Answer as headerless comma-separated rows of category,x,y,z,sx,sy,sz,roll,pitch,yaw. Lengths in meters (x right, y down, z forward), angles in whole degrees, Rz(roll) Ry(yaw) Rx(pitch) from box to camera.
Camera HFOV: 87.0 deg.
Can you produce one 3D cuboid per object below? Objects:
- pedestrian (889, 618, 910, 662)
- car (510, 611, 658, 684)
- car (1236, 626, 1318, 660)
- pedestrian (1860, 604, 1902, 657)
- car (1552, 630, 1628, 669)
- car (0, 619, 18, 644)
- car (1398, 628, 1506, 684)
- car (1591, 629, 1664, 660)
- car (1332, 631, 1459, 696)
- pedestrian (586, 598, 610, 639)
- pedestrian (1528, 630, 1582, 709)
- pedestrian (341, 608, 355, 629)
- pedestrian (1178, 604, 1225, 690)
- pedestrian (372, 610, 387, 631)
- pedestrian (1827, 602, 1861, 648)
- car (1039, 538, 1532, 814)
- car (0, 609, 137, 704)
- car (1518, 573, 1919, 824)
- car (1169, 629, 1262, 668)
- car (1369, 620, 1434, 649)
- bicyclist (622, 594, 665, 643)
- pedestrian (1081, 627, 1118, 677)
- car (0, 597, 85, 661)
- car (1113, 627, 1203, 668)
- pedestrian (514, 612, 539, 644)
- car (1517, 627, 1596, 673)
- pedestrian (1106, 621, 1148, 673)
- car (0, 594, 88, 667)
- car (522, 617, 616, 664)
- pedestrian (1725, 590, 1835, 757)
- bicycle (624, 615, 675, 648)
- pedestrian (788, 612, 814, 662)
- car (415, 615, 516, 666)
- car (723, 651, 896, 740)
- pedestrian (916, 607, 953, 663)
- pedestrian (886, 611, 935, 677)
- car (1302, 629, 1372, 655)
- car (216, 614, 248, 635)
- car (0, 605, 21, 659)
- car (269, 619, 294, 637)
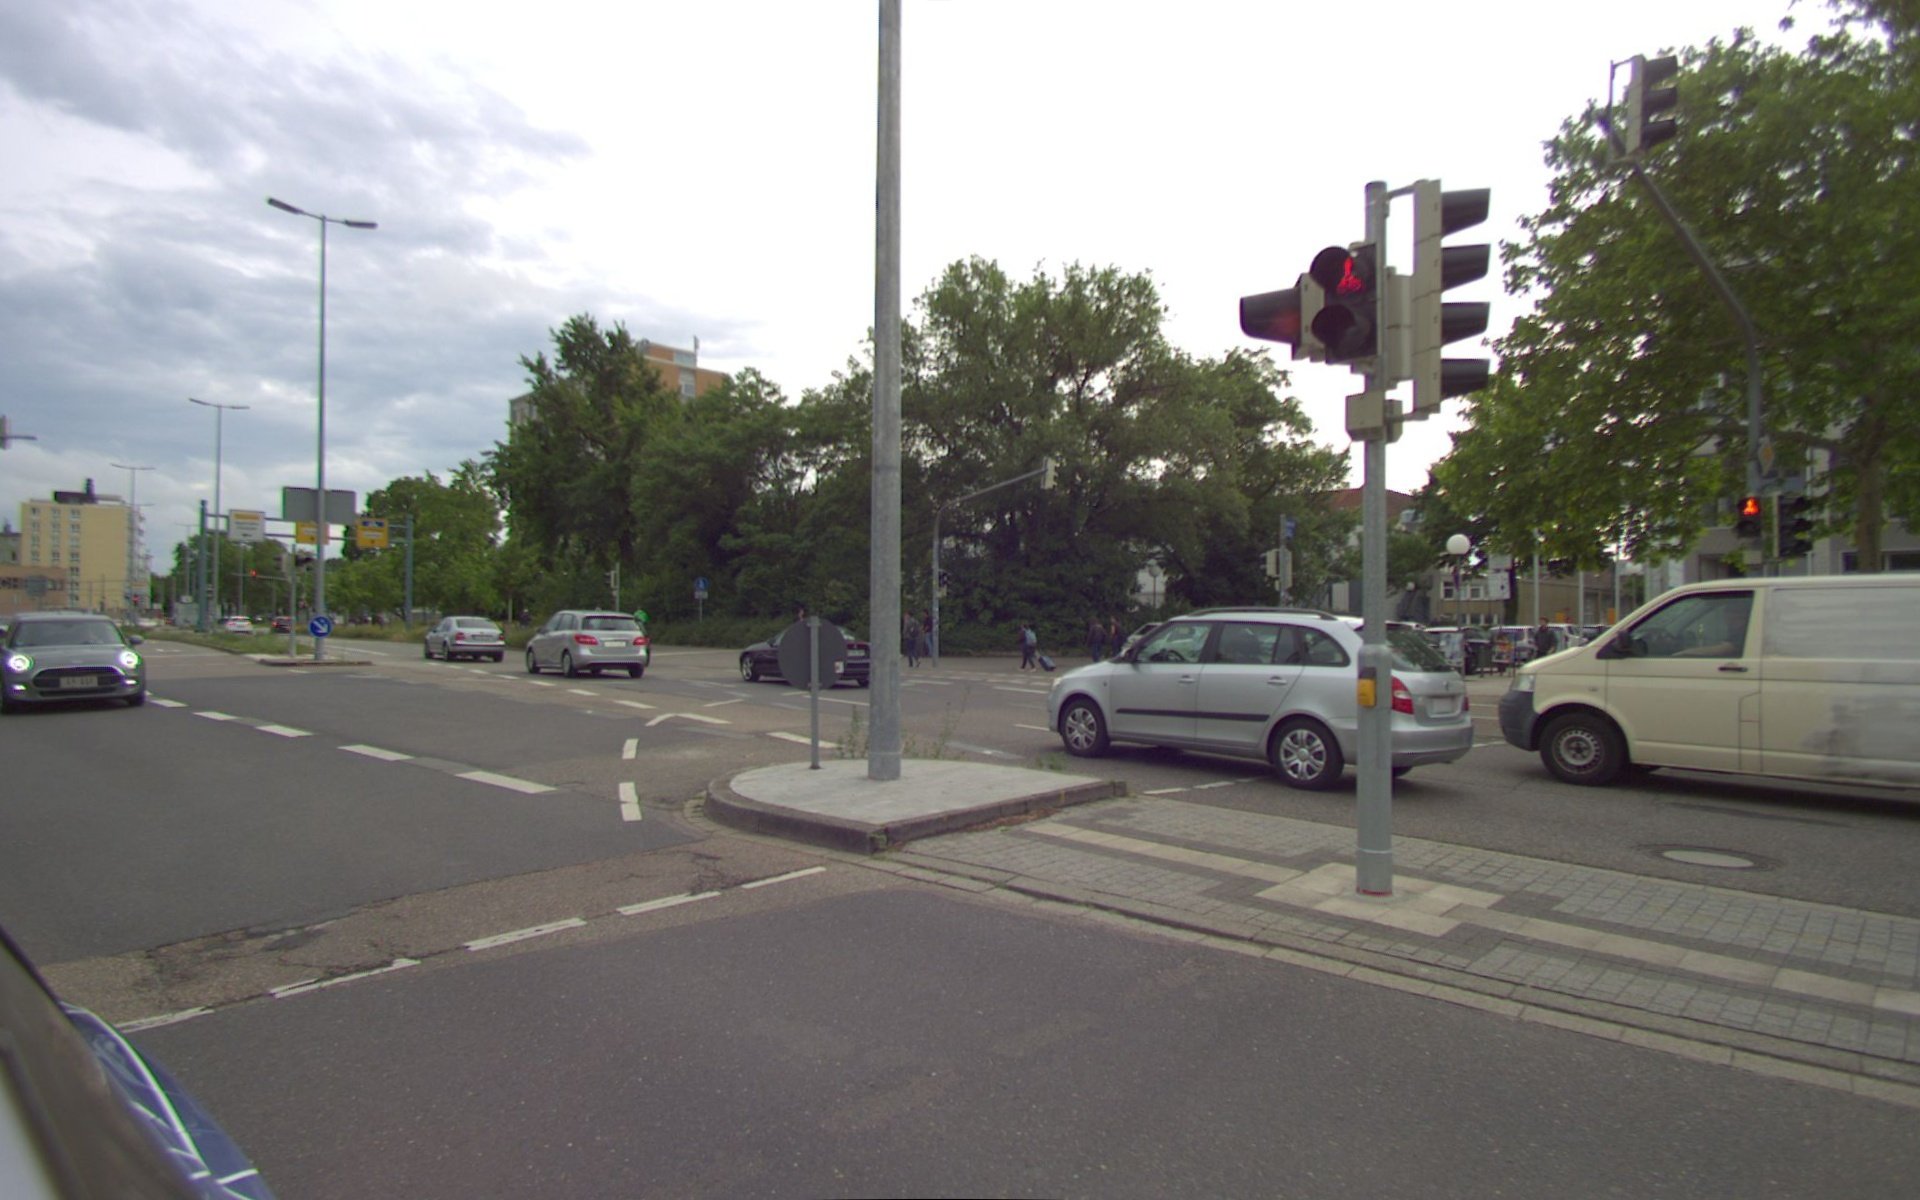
pedestrian,-2.266,1.474,37.745,0.601,1.618,0.497,0,-2,36
car,-9.047,1.129,24.181,1.933,1.596,4.262,4,-4,-40
car,14.785,1.957,47.164,3.940,1.401,2.002,-1,0,-44
pedestrian,36.052,1.192,39.636,1.034,2.029,0.787,0,-2,29
car,26.923,2.077,43.236,3.941,1.565,1.890,2,-3,-45
car,-53.187,1.731,55.913,1.582,1.378,3.583,2,-2,-42
car,15.183,1.662,31.126,1.999,1.483,3.945,-1,0,42
car,30.726,2.027,46.538,3.941,1.371,2.009,2,-3,-45
car,11.952,1.663,27.640,1.999,1.483,4.098,-1,0,42
pedestrian,-18.577,0.950,51.982,0.895,2.028,0.824,-3,1,-37
pedestrian,15.791,1.818,26.860,1.018,2.029,0.991,-1,-2,45
pedestrian,-60.402,1.789,99.878,1.221,2.029,0.870,-1,-1,41
pedestrian,5.943,1.150,24.945,0.852,2.074,0.660,-4,-3,37
pedestrian,-54.823,1.966,95.589,1.120,1.933,1.165,-1,0,-38
pedestrian,39.120,1.097,44.799,0.943,2.029,0.787,0,-2,29
car,2.907,0.608,9.592,1.970,2.029,4.002,3,-2,-45
car,-14.171,0.841,16.051,1.601,1.328,3.711,2,-2,-41
car,7.434,0.727,8.474,1.750,1.862,4.494,-1,0,-42
car,10.792,2.001,42.584,3.940,1.401,2.002,-1,0,-44
car,24.954,1.929,57.126,3.939,1.552,2.002,2,-2,-43
bicyclist,-13.546,0.782,43.331,1.275,2.029,1.174,-1,0,26
pedestrian,4.177,1.552,30.351,0.992,1.439,0.696,-1,0,18
car,-22.940,0.722,25.201,1.706,1.470,4.006,2,-2,-41
car,7.871,1.841,40.067,1.864,1.461,3.543,-1,-1,45
pedestrian,-22.261,1.431,51.953,0.976,1.637,0.814,0,-1,-44
car,23.524,1.947,39.863,1.854,1.696,3.942,-1,-2,44
pedestrian,5.065,1.413,30.666,0.811,1.525,0.977,2,-2,-35
car,-27.420,0.905,30.267,1.969,2.029,4.006,2,-2,-41
car,-13.292,1.344,34.305,1.829,1.475,3.702,2,-2,-41
pedestrian,10.519,0.906,12.982,1.010,2.029,0.884,-1,-2,43
bicycle,-13.337,1.349,43.446,2.299,1.343,0.602,-1,0,26
pedestrian,-5.494,1.272,34.970,0.582,1.708,0.653,2,-2,-42
car,-16.147,1.293,32.955,1.968,1.541,4.281,2,-2,-40
car,-3.337,1.967,21.941,1.968,1.632,4.008,2,-2,-38
pedestrian,-0.940,1.277,37.581,1.090,2.029,1.037,-1,0,14
pedestrian,-1.568,1.389,32.172,1.136,2.029,1.174,-1,0,26
car,19.298,2.133,51.773,2.000,1.296,3.942,-1,-2,44
car,-63.640,2.105,88.423,1.866,1.786,4.005,-1,0,-42
car,-37.854,1.203,39.177,1.969,2.029,4.006,2,-2,-41
car,-60.480,2.475,90.196,1.825,1.564,4.010,1,-1,-34
